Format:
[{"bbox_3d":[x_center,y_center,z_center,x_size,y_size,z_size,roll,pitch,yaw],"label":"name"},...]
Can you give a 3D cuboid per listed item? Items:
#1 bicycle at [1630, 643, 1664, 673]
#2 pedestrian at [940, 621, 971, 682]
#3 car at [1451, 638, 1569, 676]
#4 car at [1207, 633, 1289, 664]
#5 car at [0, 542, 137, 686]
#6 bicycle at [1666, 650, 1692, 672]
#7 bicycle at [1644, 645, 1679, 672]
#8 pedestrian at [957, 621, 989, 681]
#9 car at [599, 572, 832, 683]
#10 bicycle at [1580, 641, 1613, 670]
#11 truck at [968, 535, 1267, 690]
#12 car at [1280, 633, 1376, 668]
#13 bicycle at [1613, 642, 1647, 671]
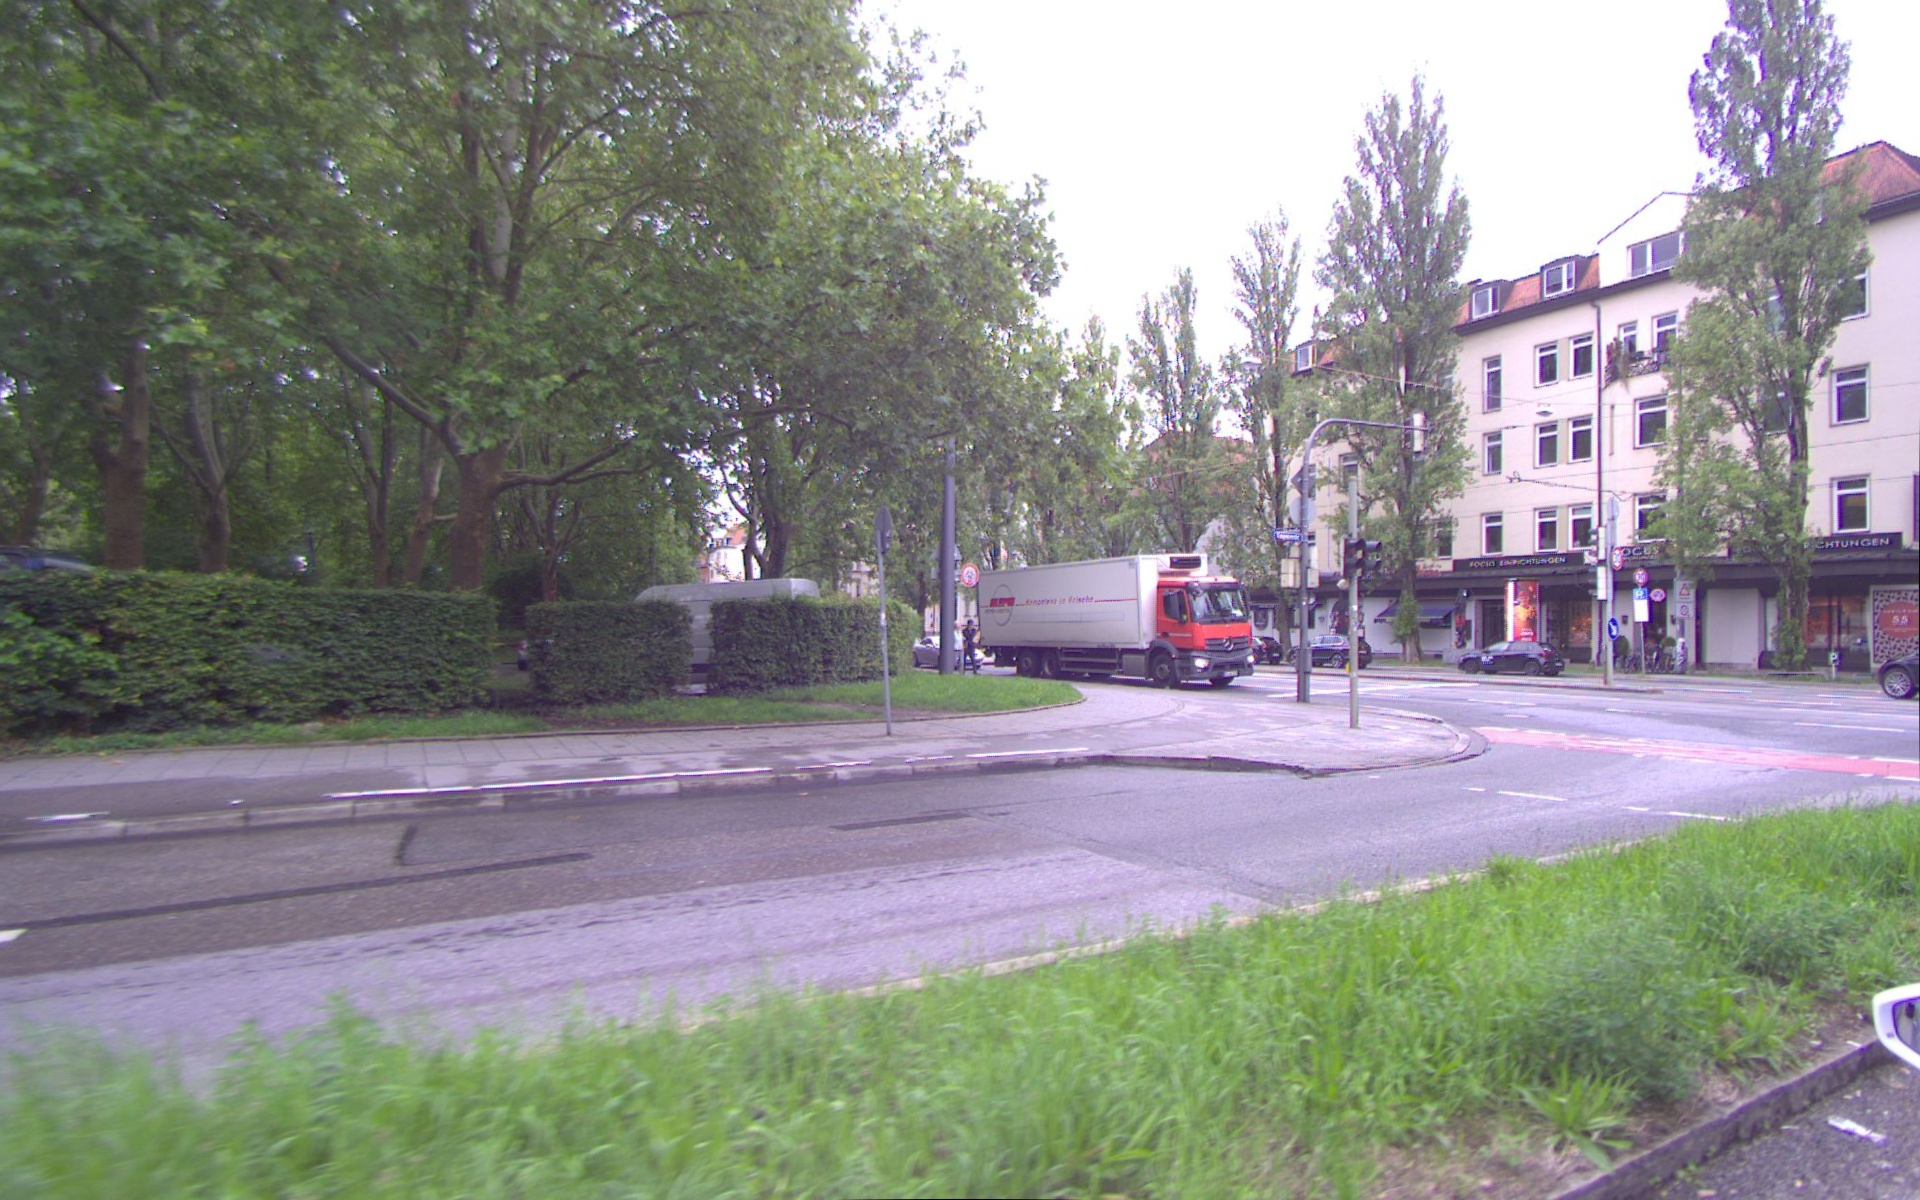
[{"bbox_3d":[28.291,2.364,41.355,1.869,1.200,0.492,2,-2,-33],"label":"bicycle"},{"bbox_3d":[-0.136,1.447,28.452,0.681,1.685,0.548,2,-2,-42],"label":"pedestrian"},{"bbox_3d":[22.978,2.370,42.084,1.786,1.485,3.964,2,-3,-33],"label":"car"},{"bbox_3d":[15.641,2.607,54.778,1.784,1.633,4.271,1,-2,-30],"label":"car"},{"bbox_3d":[-18.876,0.218,20.415,1.974,2.569,5.824,2,-1,-26],"label":"car"},{"bbox_3d":[29.997,2.524,41.904,1.357,0.895,0.385,2,-2,-33],"label":"bicycle"},{"bbox_3d":[28.589,2.377,40.923,1.869,1.096,0.492,2,-2,-33],"label":"bicycle"},{"bbox_3d":[0.375,1.465,28.989,0.681,1.685,0.653,2,-2,-42],"label":"pedestrian"},{"bbox_3d":[-5.435,0.632,22.550,4.536,2.039,2.001,-5,-2,12],"label":"car"},{"bbox_3d":[27.373,2.376,43.189,1.869,1.200,0.492,2,-2,-33],"label":"bicycle"},{"bbox_3d":[4.343,0.485,31.851,2.715,4.033,11.625,0,-1,-29],"label":"truck"},{"bbox_3d":[18.261,2.464,50.042,1.706,1.633,4.436,1,-2,-30],"label":"car"},{"bbox_3d":[28.019,2.361,42.004,1.869,1.200,0.492,2,-2,-33],"label":"bicycle"}]
